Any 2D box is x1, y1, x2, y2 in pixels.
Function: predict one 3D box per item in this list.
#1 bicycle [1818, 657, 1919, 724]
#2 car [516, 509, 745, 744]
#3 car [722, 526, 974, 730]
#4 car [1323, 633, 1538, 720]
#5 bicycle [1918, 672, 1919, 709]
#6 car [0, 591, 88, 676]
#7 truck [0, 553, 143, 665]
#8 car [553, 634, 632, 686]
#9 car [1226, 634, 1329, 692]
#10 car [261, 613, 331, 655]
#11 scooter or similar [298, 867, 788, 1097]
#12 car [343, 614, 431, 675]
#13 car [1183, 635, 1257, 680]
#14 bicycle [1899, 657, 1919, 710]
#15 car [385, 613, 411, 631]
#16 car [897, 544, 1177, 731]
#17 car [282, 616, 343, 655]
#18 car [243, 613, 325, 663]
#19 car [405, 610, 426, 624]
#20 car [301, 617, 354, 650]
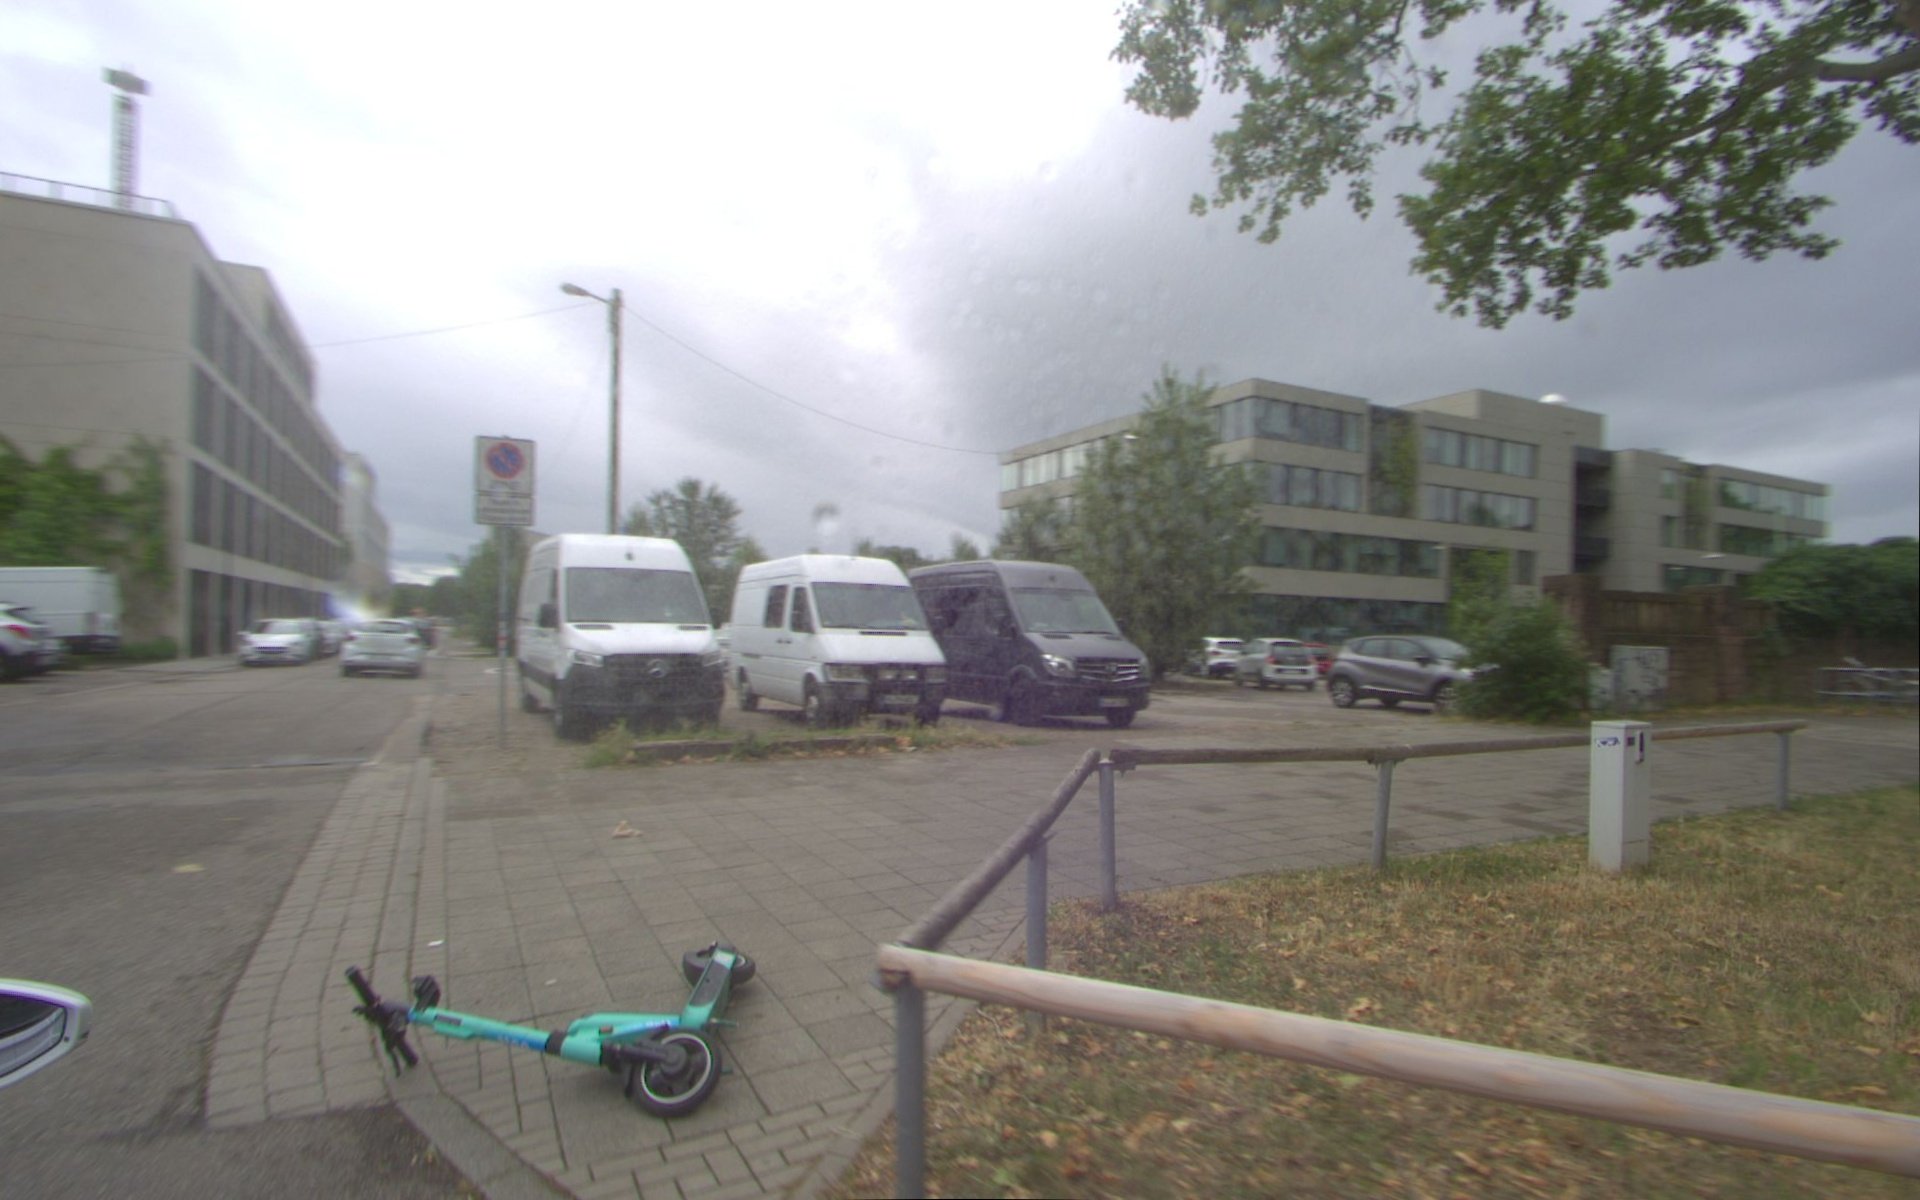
[{"bbox_3d":[17.485,1.699,18.847,0.542,1.105,1.918,1,1,-28],"label":"bicycle"},{"bbox_3d":[-4.916,0.336,14.186,2.069,2.589,6.015,1,-1,-28],"label":"car"},{"bbox_3d":[-2.008,0.501,15.638,2.009,2.567,5.782,1,-3,-27],"label":"car"},{"bbox_3d":[9.654,1.510,20.826,1.725,1.599,3.761,2,-2,-29],"label":"car"},{"bbox_3d":[21.460,1.830,20.981,0.542,1.112,1.896,1,1,-28],"label":"bicycle"},{"bbox_3d":[-20.336,0.601,20.038,3.944,1.665,1.882,4,-2,-29],"label":"car"},{"bbox_3d":[-25.266,0.184,26.026,5.765,2.762,2.048,3,-2,-24],"label":"truck"},{"bbox_3d":[-11.931,1.879,32.355,1.863,1.472,3.982,2,-1,-28],"label":"car"},{"bbox_3d":[9.807,1.910,31.260,1.961,1.572,4.001,1,-1,1],"label":"car"},{"bbox_3d":[-24.910,1.242,37.672,1.864,1.472,3.979,2,-1,-29],"label":"car"},{"bbox_3d":[-1.362,1.322,3.632,1.305,0.354,1.180,2,0,-2],"label":"scooter or similar"},{"bbox_3d":[-15.249,1.132,26.803,1.863,1.472,3.982,2,-1,-28],"label":"car"},{"bbox_3d":[10.289,2.254,39.927,1.961,1.572,4.001,1,-1,1],"label":"car"},{"bbox_3d":[20.876,1.802,20.745,0.542,1.109,1.971,1,1,-28],"label":"bicycle"},{"bbox_3d":[-46.960,1.822,83.674,1.864,1.472,3.979,2,-1,-29],"label":"car"},{"bbox_3d":[0.995,0.684,16.739,2.137,2.553,5.786,2,-3,-24],"label":"car"},{"bbox_3d":[-26.787,1.443,41.529,1.864,1.472,3.979,2,-1,-29],"label":"car"},{"bbox_3d":[-21.849,1.204,32.505,1.864,1.472,3.979,2,-1,-29],"label":"car"},{"bbox_3d":[-58.545,1.821,107.676,1.864,1.472,3.979,2,-1,-29],"label":"car"},{"bbox_3d":[-30.025,1.581,47.625,1.864,1.472,3.979,2,-1,-29],"label":"car"}]
